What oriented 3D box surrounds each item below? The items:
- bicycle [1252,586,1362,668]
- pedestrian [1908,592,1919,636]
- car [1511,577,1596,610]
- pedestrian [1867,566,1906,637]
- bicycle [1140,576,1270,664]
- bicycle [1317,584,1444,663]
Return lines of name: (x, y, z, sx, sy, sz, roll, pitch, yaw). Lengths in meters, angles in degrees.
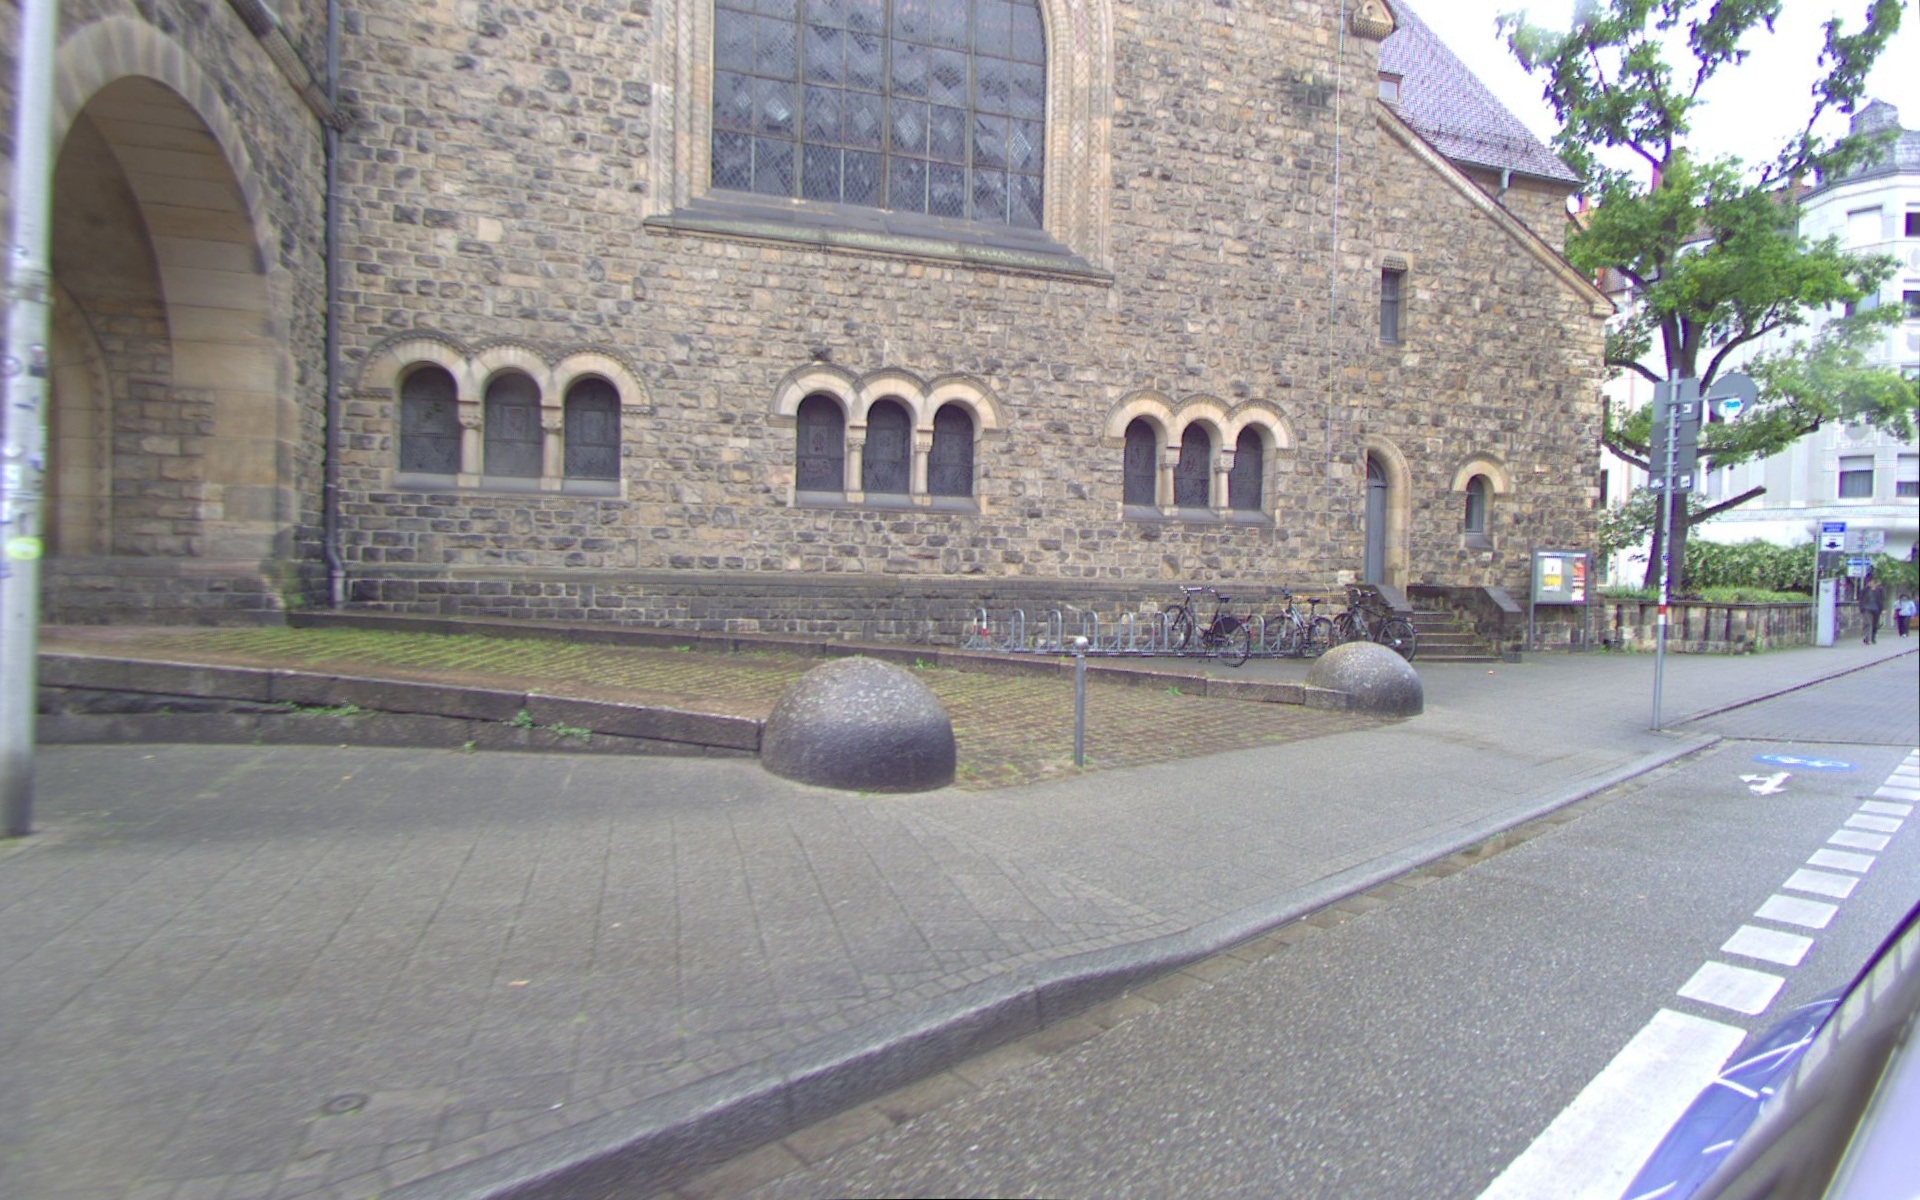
bicycle: (5.438, 0.395, 15.976, 0.550, 1.125, 1.718, 0, 4, -26)
pedestrian: (32.551, 0.474, 34.327, 0.385, 1.478, 0.482, 1, 2, -41)
car: (29.162, -0.334, 49.805, 1.421, 1.426, 3.272, 0, 3, -38)
pedestrian: (25.491, 0.025, 27.834, 0.681, 1.896, 0.645, 0, 2, -41)
bicycle: (3.609, 0.258, 15.081, 0.677, 1.118, 1.994, 0, 4, -29)
bicycle: (6.644, 0.334, 16.116, 0.502, 1.066, 1.995, 0, 4, -26)
